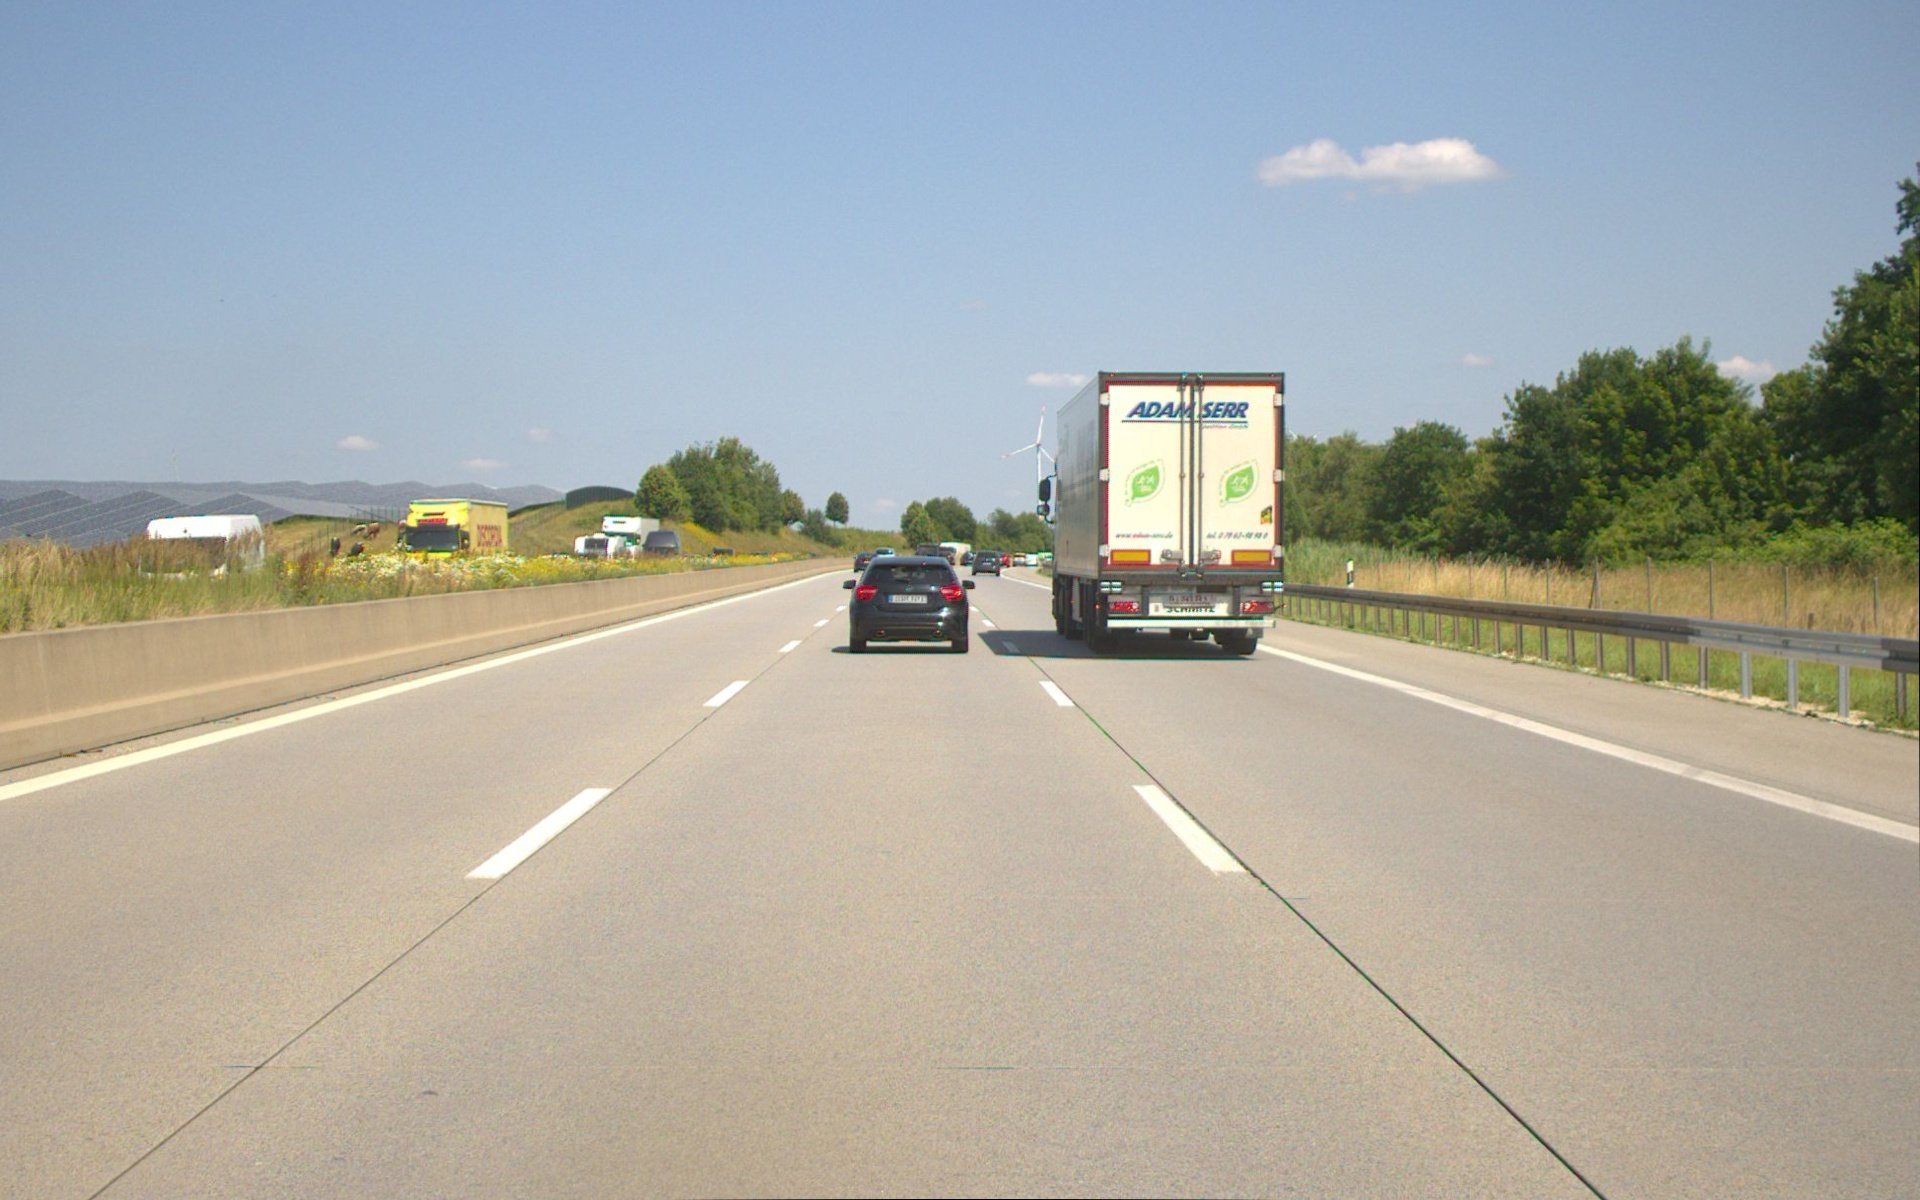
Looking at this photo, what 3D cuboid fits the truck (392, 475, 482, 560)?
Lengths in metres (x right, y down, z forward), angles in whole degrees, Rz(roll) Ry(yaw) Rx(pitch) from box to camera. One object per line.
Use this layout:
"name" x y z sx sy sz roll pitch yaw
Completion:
"truck" -22.446 -3.518 147.784 2.923 3.528 6.348 0 0 0

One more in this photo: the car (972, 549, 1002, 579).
"car" 1.780 -2.369 225.231 1.827 1.900 4.000 1 1 -1

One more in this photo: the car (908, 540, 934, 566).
"car" -2.892 -3.478 256.768 1.827 1.931 3.809 0 0 -2

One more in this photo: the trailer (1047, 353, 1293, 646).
"trailer" 3.077 -1.480 54.093 2.852 4.029 12.714 1 1 -1

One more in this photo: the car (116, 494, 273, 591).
"car" -16.766 -1.232 75.604 2.183 2.007 6.349 1 0 -2

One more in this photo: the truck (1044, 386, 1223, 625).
"truck" 3.047 -1.658 61.825 2.812 4.074 5.799 1 1 -1

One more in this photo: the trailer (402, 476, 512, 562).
"trailer" -22.466 -3.551 154.385 2.931 3.538 14.020 1 0 0

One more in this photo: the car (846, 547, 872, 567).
"car" -6.828 -2.917 233.137 1.655 1.192 3.960 3 1 -1

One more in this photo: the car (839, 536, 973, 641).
"car" -0.820 -0.209 51.987 1.910 1.487 4.192 1 1 -1
